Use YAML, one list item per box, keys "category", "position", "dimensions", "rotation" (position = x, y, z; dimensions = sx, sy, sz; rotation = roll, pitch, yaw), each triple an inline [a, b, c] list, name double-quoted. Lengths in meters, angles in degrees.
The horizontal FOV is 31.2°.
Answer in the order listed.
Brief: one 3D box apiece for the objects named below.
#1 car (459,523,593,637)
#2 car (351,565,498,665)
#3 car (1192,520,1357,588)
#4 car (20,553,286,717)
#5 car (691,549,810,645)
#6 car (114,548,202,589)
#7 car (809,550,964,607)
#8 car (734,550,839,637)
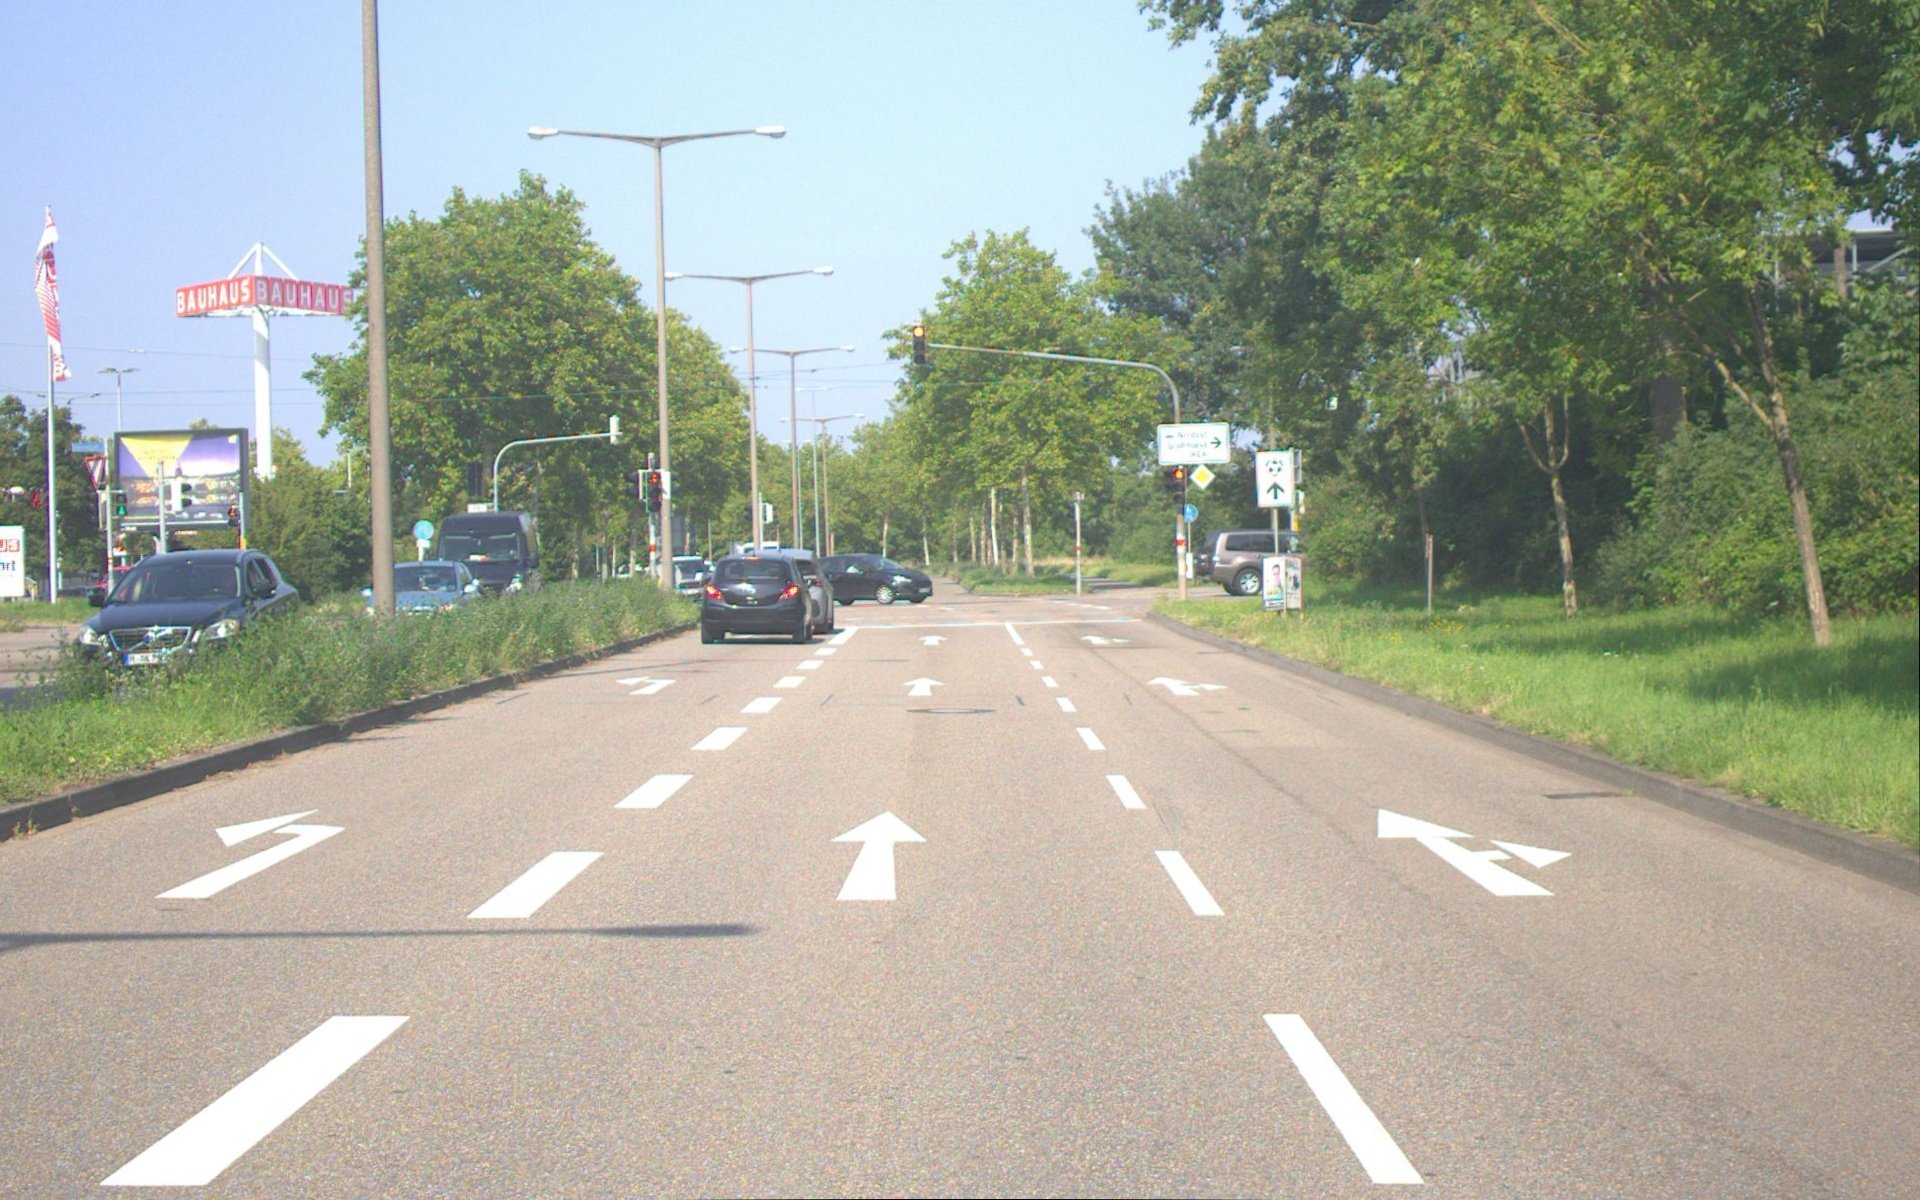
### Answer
- category: "car"
  position: [-9.309, -0.444, 74.242]
  dimensions: [2.112, 2.325, 6.282]
  rotation: [0, 1, 0]
- category: "car"
  position: [-8.756, 0.222, 56.491]
  dimensions: [1.773, 1.568, 4.000]
  rotation: [0, 1, 0]
- category: "car"
  position: [8.711, -1.285, 95.415]
  dimensions: [4.265, 1.830, 1.913]
  rotation: [-1, 0, -5]
- category: "car"
  position: [-8.893, 0.339, 38.252]
  dimensions: [1.993, 1.700, 4.505]
  rotation: [-1, 1, -2]
- category: "car"
  position: [-3.417, -0.074, 56.733]
  dimensions: [1.692, 1.481, 4.000]
  rotation: [-2, 1, 0]
- category: "car"
  position: [-40.317, -1.600, 172.883]
  dimensions: [1.996, 2.007, 4.284]
  rotation: [0, 1, 28]
- category: "car"
  position: [-2.029, -0.594, 95.289]
  dimensions: [3.964, 1.528, 1.822]
  rotation: [0, 1, 12]
- category: "car"
  position: [-3.151, -0.146, 63.009]
  dimensions: [1.692, 1.481, 4.000]
  rotation: [-2, 1, 0]
